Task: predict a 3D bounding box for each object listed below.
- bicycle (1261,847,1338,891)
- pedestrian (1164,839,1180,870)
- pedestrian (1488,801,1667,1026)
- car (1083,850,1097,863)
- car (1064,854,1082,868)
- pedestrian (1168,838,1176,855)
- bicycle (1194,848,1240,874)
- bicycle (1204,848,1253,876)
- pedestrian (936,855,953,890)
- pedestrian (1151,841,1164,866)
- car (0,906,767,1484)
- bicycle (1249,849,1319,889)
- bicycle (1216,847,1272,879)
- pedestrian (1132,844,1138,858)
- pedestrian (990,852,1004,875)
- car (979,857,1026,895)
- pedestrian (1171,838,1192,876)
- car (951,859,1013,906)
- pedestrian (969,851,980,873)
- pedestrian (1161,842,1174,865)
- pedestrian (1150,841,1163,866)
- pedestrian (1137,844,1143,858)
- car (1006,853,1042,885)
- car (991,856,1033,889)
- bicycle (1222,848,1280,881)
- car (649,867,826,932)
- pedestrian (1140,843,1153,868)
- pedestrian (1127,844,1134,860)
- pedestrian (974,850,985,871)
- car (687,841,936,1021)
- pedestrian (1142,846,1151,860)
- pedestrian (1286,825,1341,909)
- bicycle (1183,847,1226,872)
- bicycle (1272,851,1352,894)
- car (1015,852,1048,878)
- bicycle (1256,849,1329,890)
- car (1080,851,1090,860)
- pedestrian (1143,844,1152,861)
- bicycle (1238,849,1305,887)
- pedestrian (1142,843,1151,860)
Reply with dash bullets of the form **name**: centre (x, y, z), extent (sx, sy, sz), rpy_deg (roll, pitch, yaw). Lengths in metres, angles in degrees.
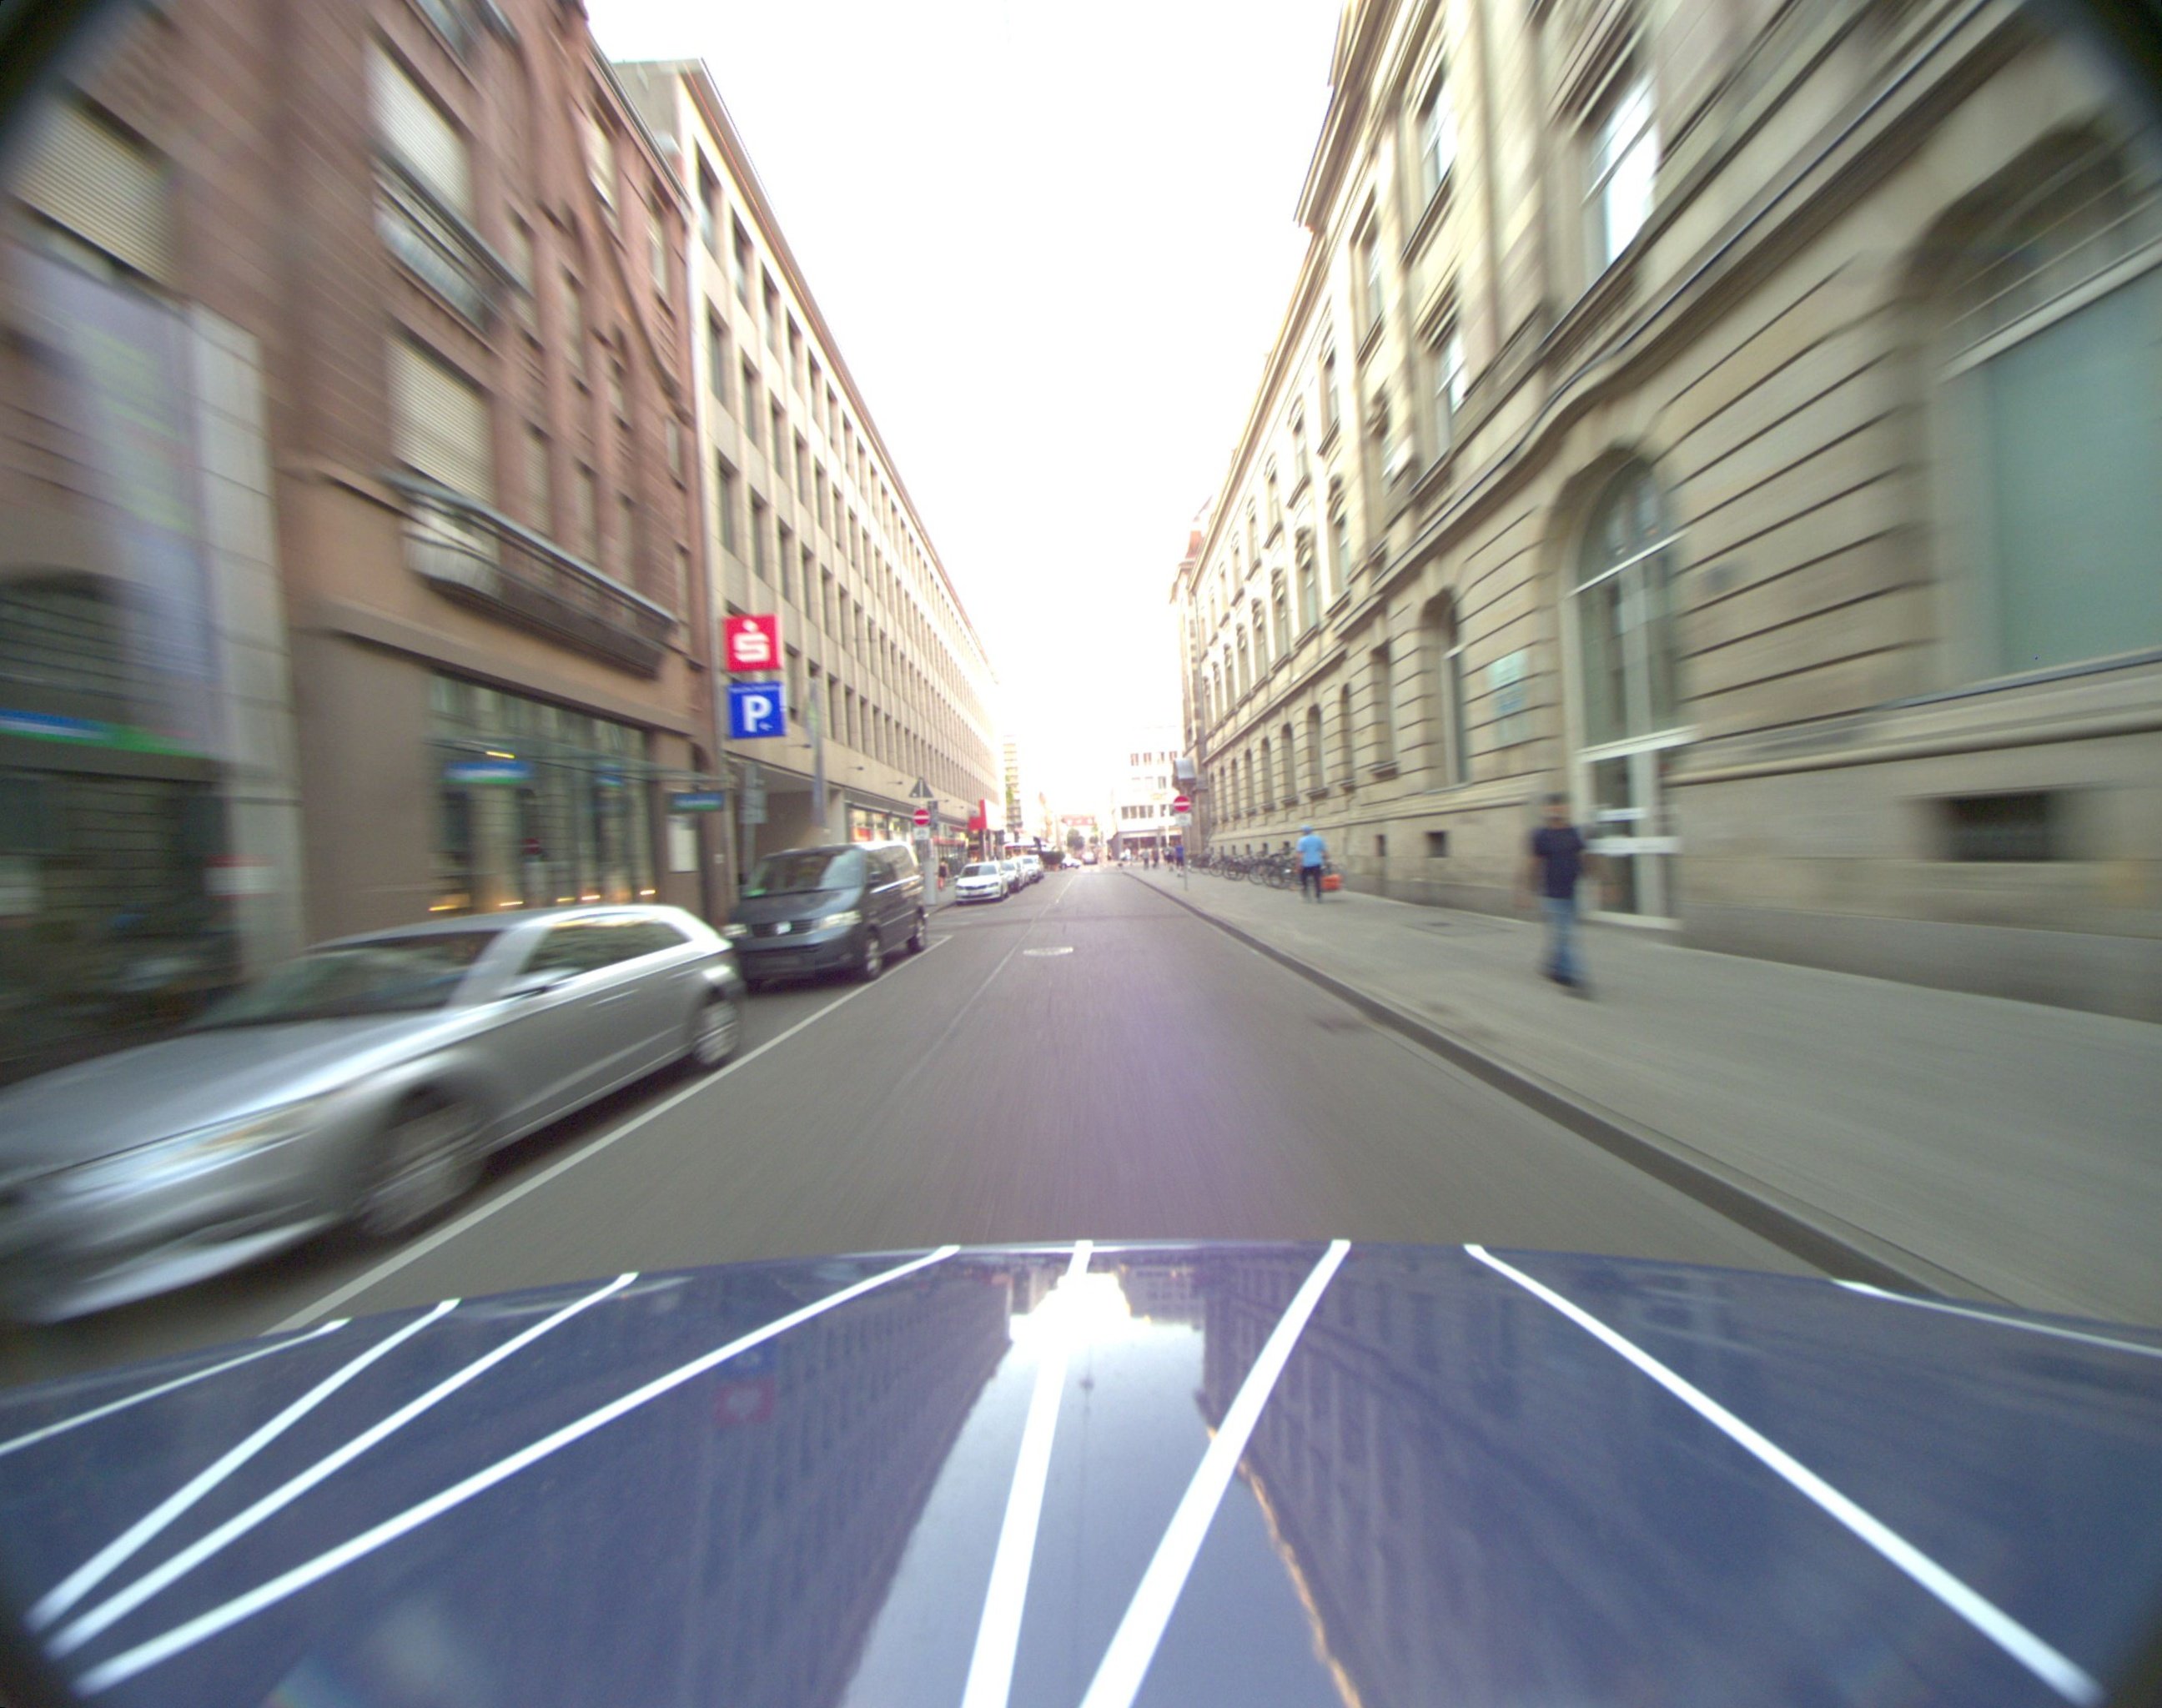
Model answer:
- **bicycle**: centre (6.327, 0.425, 22.049), extent (1.942, 1.072, 0.748), rpy_deg (-5, 1, 0)
- **pedestrian**: centre (5.467, 0.017, 45.803), extent (0.719, 1.770, 0.800), rpy_deg (-5, 1, 1)
- **pedestrian**: centre (4.222, 0.469, 6.542), extent (0.811, 1.740, 0.969), rpy_deg (-5, 1, 1)
- **car**: centre (1.263, 0.351, 104.894), extent (1.824, 1.728, 4.000), rpy_deg (-3, 0, 0)
- **car**: centre (-0.830, 0.723, 78.175), extent (1.741, 1.407, 4.681), rpy_deg (0, 0, -1)
- **pedestrian**: centre (9.124, -0.793, 76.343), extent (0.732, 1.679, 0.746), rpy_deg (-3, 1, 3)
- **bicycle**: centre (6.636, 0.329, 37.155), extent (2.026, 1.072, 0.729), rpy_deg (-5, 1, -18)
- **bicycle**: centre (6.549, 0.337, 33.718), extent (1.943, 1.072, 0.730), rpy_deg (-5, 1, -4)
- **pedestrian**: centre (-6.577, 0.885, 36.737), extent (0.650, 1.626, 0.650), rpy_deg (-2, 1, 0)
- **pedestrian**: centre (5.467, -0.034, 54.618), extent (0.731, 1.658, 0.858), rpy_deg (-7, 1, 4)
- **car**: centre (-3.823, 1.271, 4.607), extent (1.691, 1.445, 4.498), rpy_deg (-5, 0, 2)
- **bicycle**: centre (6.422, 0.453, 24.087), extent (1.943, 1.072, 0.730), rpy_deg (-5, 1, -6)
- **bicycle**: centre (6.481, 0.345, 30.213), extent (1.943, 1.072, 0.730), rpy_deg (-6, 1, -6)
- **pedestrian**: centre (6.705, -0.352, 94.371), extent (0.545, 1.698, 0.558), rpy_deg (-4, 1, 1)
- **pedestrian**: centre (-6.967, 0.771, 63.153), extent (0.801, 1.908, 0.685), rpy_deg (-3, 1, -41)
- **car**: centre (-3.502, 0.942, 34.598), extent (1.661, 1.439, 4.444), rpy_deg (-4, 1, -1)
- **pedestrian**: centre (4.879, 0.135, 36.914), extent (0.777, 1.778, 0.821), rpy_deg (-4, 1, 17)
- **car**: centre (-3.635, 1.002, 28.626), extent (1.661, 1.439, 4.307), rpy_deg (-4, 1, 0)
- **pedestrian**: centre (-8.883, 0.676, 63.541), extent (0.799, 1.751, 0.687), rpy_deg (-3, 1, -2)
- **pedestrian**: centre (6.370, -0.048, 56.147), extent (0.757, 1.632, 0.749), rpy_deg (-6, 1, 8)
- **pedestrian**: centre (5.605, -0.045, 56.252), extent (0.718, 1.819, 0.870), rpy_deg (-6, 1, 8)
- **pedestrian**: centre (7.311, -0.381, 94.473), extent (0.545, 1.698, 0.558), rpy_deg (-4, 1, 1)
- **car**: centre (-3.345, 0.864, 45.629), extent (1.780, 1.656, 4.812), rpy_deg (-4, 1, -1)
- **car**: centre (-3.612, 0.928, 40.147), extent (1.661, 1.439, 3.869), rpy_deg (-4, 1, 2)
- **bicycle**: centre (6.484, 0.408, 29.026), extent (1.943, 1.072, 0.730), rpy_deg (-5, 1, -6)
- **car**: centre (-10.317, 1.341, 23.087), extent (4.413, 1.493, 1.916), rpy_deg (-4, 2, -1)
- **pedestrian**: centre (4.727, 0.106, 54.547), extent (0.727, 1.732, 0.839), rpy_deg (-7, 1, 4)
- **pedestrian**: centre (5.856, -0.240, 89.830), extent (0.783, 1.882, 0.642), rpy_deg (-3, 1, 0)
- **pedestrian**: centre (-8.579, 0.516, 64.365), extent (0.799, 1.751, 0.687), rpy_deg (-3, 1, -3)
- **car**: centre (-3.731, 0.894, 11.691), extent (1.851, 2.046, 5.053), rpy_deg (-4, 1, 0)
- **pedestrian**: centre (7.137, -0.091, 83.393), extent (0.676, 1.532, 0.640), rpy_deg (-4, 1, -25)
- **pedestrian**: centre (5.092, 0.283, 16.676), extent (0.831, 1.736, 0.769), rpy_deg (-5, 1, 1)
- **bicycle**: centre (6.485, 0.284, 40.030), extent (2.024, 1.102, 0.730), rpy_deg (-5, 1, -5)
- **bicycle**: centre (6.396, 0.510, 21.130), extent (1.940, 1.040, 0.721), rpy_deg (-4, 1, -3)
- **car**: centre (-3.337, 0.709, 52.201), extent (1.744, 1.589, 4.714), rpy_deg (-5, 0, 1)
- **bicycle**: centre (6.481, 0.460, 23.314), extent (1.943, 1.072, 0.730), rpy_deg (-5, 1, -6)
- **car**: centre (0.857, 0.286, 158.042), extent (1.798, 1.705, 4.000), rpy_deg (-3, 0, 2)
- **pedestrian**: centre (6.619, -0.184, 76.086), extent (0.795, 1.679, 0.769), rpy_deg (-3, 1, 3)
- **bicycle**: centre (6.356, 0.445, 25.403), extent (1.943, 1.072, 0.730), rpy_deg (-5, 1, -6)
- **pedestrian**: centre (6.654, -0.216, 76.916), extent (0.795, 1.679, 0.769), rpy_deg (-3, 1, 3)
